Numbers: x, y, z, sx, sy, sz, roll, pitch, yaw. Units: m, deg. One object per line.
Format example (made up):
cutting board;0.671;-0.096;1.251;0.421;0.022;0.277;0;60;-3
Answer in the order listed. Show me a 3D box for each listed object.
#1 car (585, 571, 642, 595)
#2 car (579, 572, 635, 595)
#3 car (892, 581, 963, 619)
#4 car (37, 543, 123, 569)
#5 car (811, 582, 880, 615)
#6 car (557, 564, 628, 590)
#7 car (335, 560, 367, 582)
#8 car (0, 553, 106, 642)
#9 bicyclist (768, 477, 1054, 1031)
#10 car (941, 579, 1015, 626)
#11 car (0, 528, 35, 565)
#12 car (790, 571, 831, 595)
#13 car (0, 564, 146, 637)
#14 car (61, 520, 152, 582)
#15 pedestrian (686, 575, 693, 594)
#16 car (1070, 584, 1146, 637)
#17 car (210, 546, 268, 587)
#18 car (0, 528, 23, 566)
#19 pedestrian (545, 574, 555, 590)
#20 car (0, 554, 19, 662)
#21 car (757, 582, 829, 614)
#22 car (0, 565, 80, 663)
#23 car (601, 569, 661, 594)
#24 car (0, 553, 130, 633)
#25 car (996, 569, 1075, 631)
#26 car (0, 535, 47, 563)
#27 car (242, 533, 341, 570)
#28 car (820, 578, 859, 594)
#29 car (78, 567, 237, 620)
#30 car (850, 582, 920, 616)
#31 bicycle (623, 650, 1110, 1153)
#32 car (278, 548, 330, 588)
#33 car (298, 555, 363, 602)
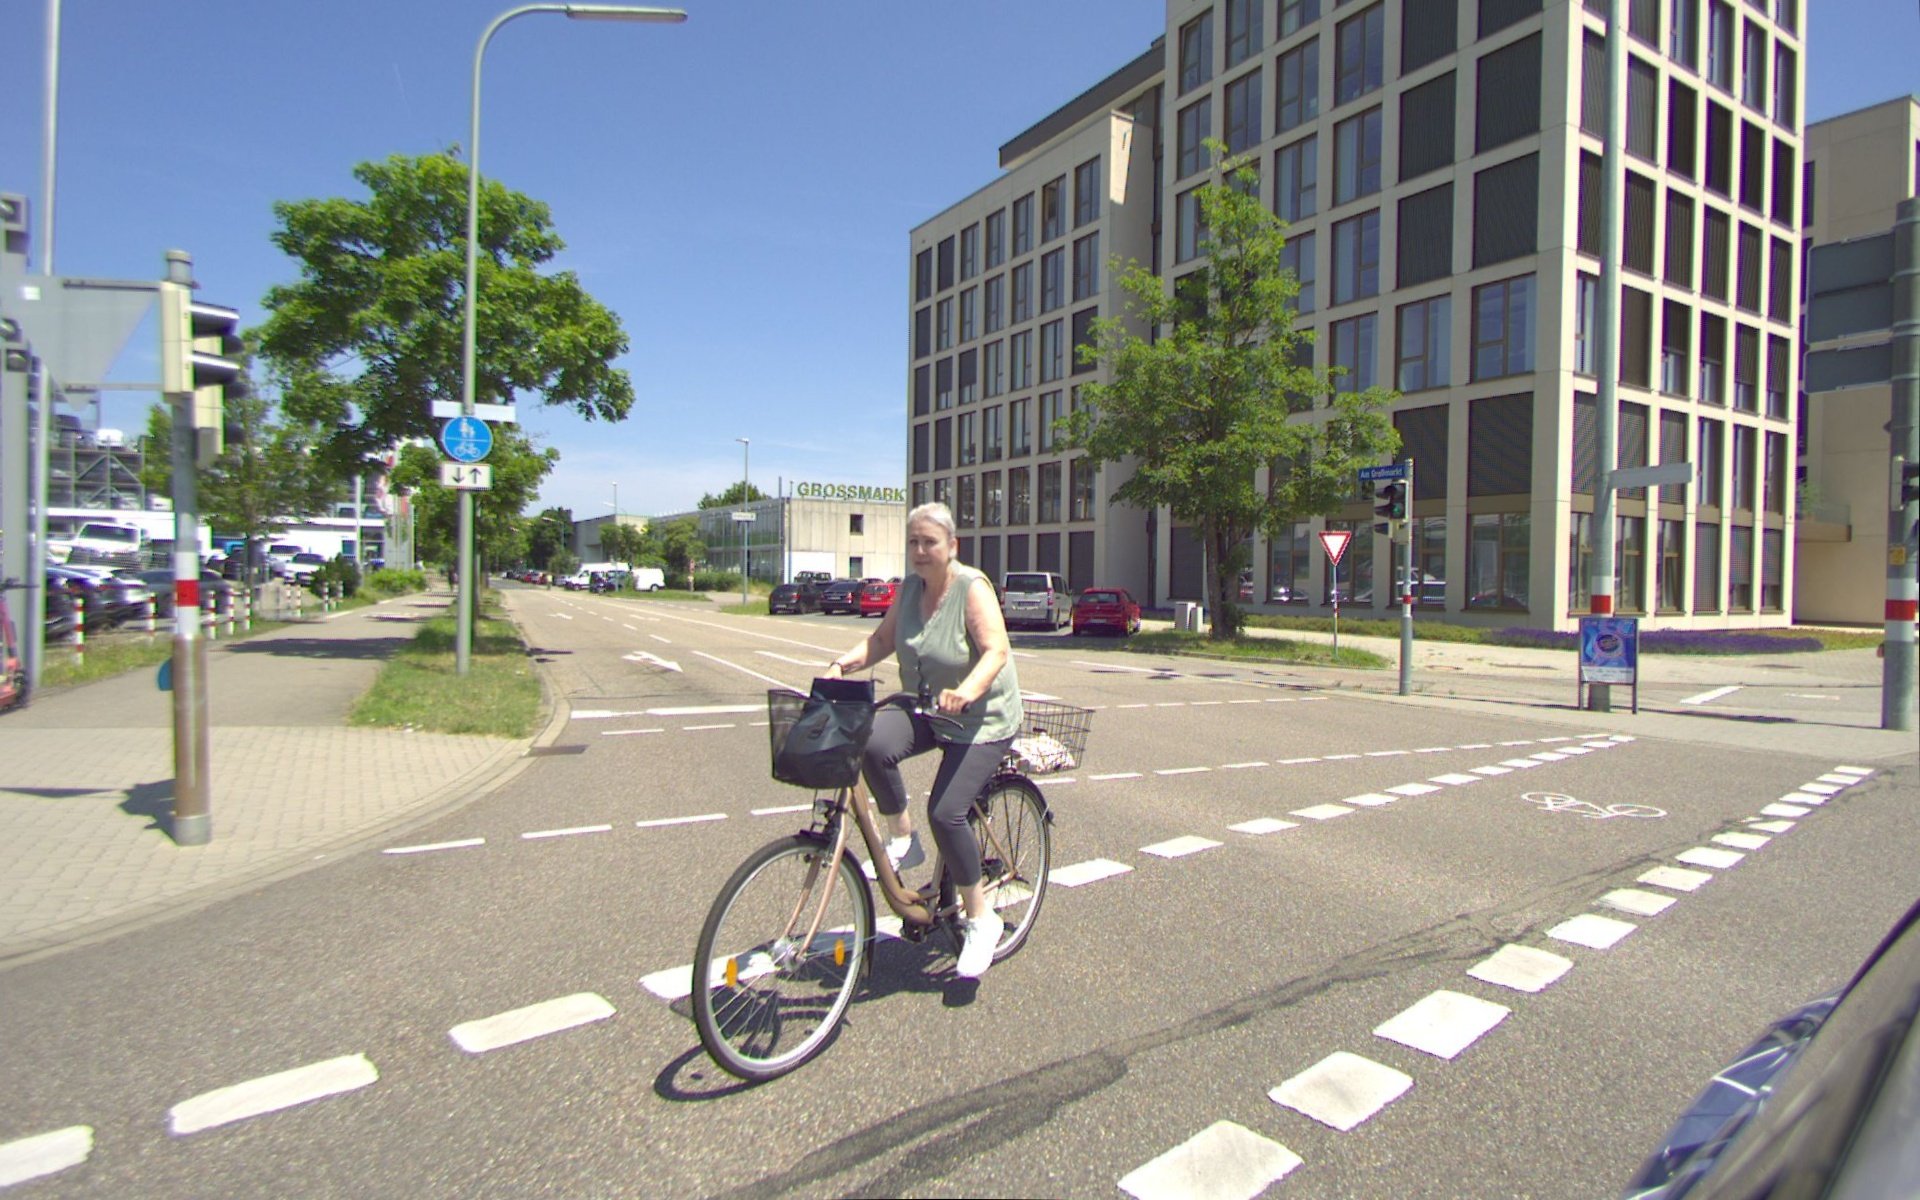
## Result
car;-30.854;-1.496;90.051;4.486;2.039;2.001;0;-1;-31
car;-32.229;-1.459;92.417;4.486;2.039;2.001;0;-1;-31
car;-1.250;-0.045;40.849;1.891;1.457;3.984;0;1;14
car;-61.697;-3.056;71.017;4.271;1.673;1.916;0;1;-31
car;-5.103;-0.117;45.675;1.847;1.392;3.984;1;1;14
car;-37.975;-2.329;104.624;6.560;2.553;2.221;0;-1;-29
car;-43.998;-2.066;73.188;1.746;1.540;3.694;0;1;-28
car;-19.073;-0.027;19.434;3.923;1.675;1.849;0;-1;-36
bicyclist;-0.148;0.452;3.495;0.625;1.626;0.815;-1;-1;34
car;0.724;0.043;37.295;1.891;1.609;3.984;1;1;14
car;-49.569;-2.708;50.688;4.497;1.819;1.916;0;1;-31
car;-11.478;-1.272;77.429;1.760;1.750;4.004;0;-1;-29
car;-21.934;0.027;24.044;3.923;1.675;1.849;0;-1;-36
car;-30.189;-1.683;35.950;1.877;1.991;5.254;0;1;-34
pedestrian;-23.000;-1.290;86.017;0.397;1.579;0.550;0;1;-30
car;4.659;0.276;31.460;1.678;1.450;3.977;0;2;18
car;-33.023;-1.486;46.439;1.961;1.727;4.001;0;-1;-33
car;-46.770;-2.560;48.539;1.847;1.727;4.004;0;1;-30
pedestrian;-42.391;-1.861;104.720;0.856;1.698;0.758;0;1;-27
car;-16.305;0.087;14.612;3.746;1.637;1.641;1;0;-36
car;-7.671;-0.130;46.832;1.891;1.349;3.984;1;1;14
car;-17.618;0.236;17.218;3.838;1.675;1.633;0;0;-36
car;-27.526;-1.525;84.638;4.486;2.039;2.001;0;-1;-31
car;-20.472;-0.166;21.778;3.923;1.675;1.850;0;1;-36
car;2.663;-0.022;34.611;1.891;1.910;4.912;1;1;14
car;-59.547;-3.199;62.635;4.273;1.673;1.915;0;1;-33
car;-36.970;-2.664;56.044;4.500;1.910;1.915;0;1;-34
car;-9.444;-1.110;79.061;1.661;1.171;4.004;0;0;-29
car;-25.233;-0.266;32.044;1.813;1.490;4.624;1;2;-7
car;-3.165;-0.087;43.416;1.891;1.370;3.984;1;1;14
bicycle;-0.179;0.801;3.489;0.625;1.147;1.871;1;1;34
car;-31.162;-1.477;48.089;1.961;1.727;4.001;0;-1;-33
car;-24.539;-0.832;39.583;1.875;1.715;4.595;0;1;-28
